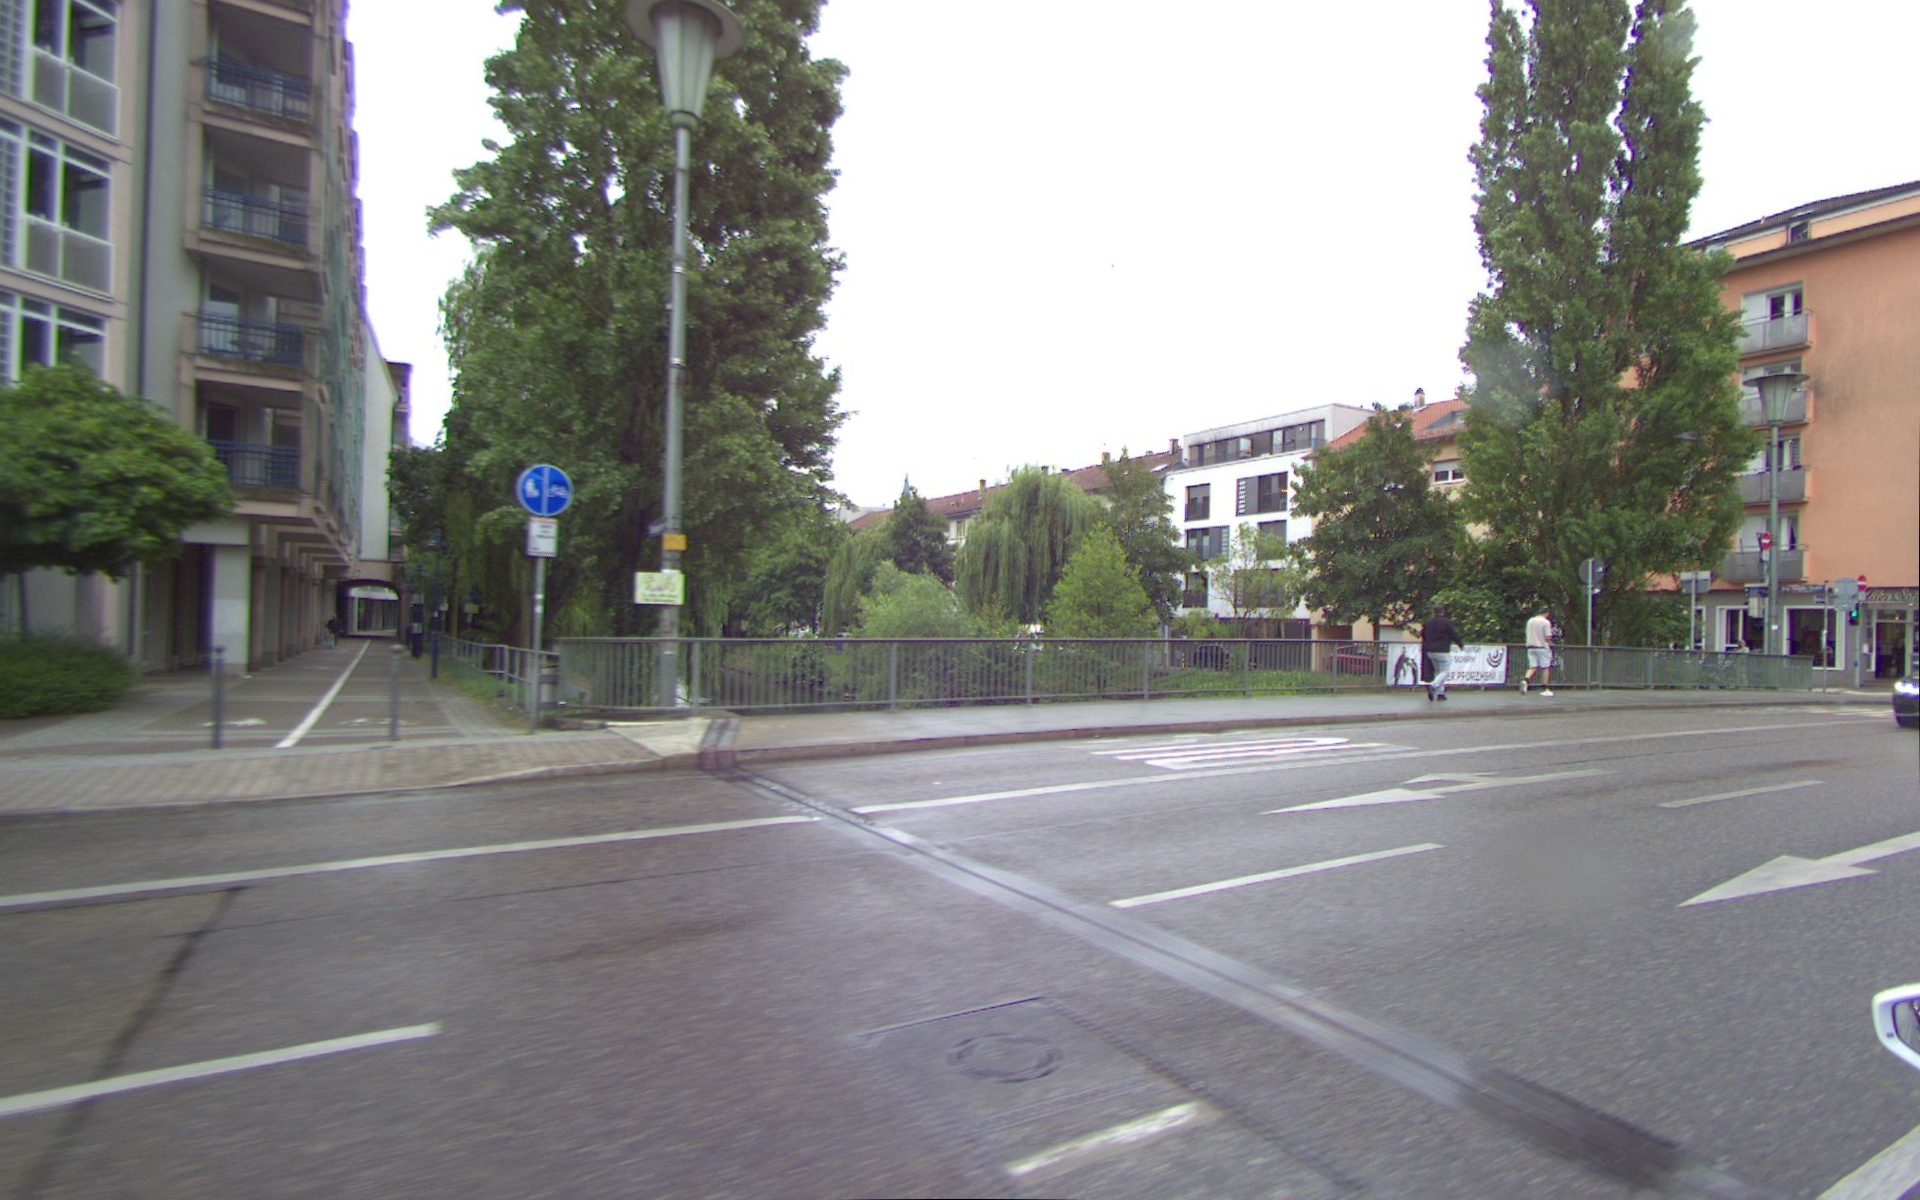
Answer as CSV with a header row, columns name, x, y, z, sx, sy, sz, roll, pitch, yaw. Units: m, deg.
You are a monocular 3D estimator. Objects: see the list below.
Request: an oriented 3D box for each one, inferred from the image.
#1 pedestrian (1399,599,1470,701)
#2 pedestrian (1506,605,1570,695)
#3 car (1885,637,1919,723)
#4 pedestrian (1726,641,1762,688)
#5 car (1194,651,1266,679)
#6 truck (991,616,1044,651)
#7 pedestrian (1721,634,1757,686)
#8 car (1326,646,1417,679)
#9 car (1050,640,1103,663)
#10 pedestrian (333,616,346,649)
name,x,y,z,sx,sy,sz,roll,pitch,yaw
pedestrian,8.739,0.909,18.510,0.946,1.817,0.695,2,0,-27
pedestrian,12.034,1.029,20.916,0.802,1.817,0.794,2,0,-28
car,17.253,1.325,16.578,4.356,1.343,1.783,2,-1,-31
pedestrian,25.370,2.090,32.501,0.790,1.464,0.649,4,-3,-29
car,15.938,3.816,59.441,1.876,1.406,3.970,2,0,-29
truck,4.663,2.737,82.591,2.082,2.663,4.621,2,0,-30
pedestrian,25.917,2.002,33.414,0.609,1.684,0.800,2,-3,5
car,20.847,3.147,51.027,1.876,1.406,3.970,2,-1,-29
car,8.387,3.713,72.761,1.876,1.406,3.970,2,0,-29
pedestrian,-30.149,1.559,48.797,0.505,1.582,0.381,1,-1,-33
